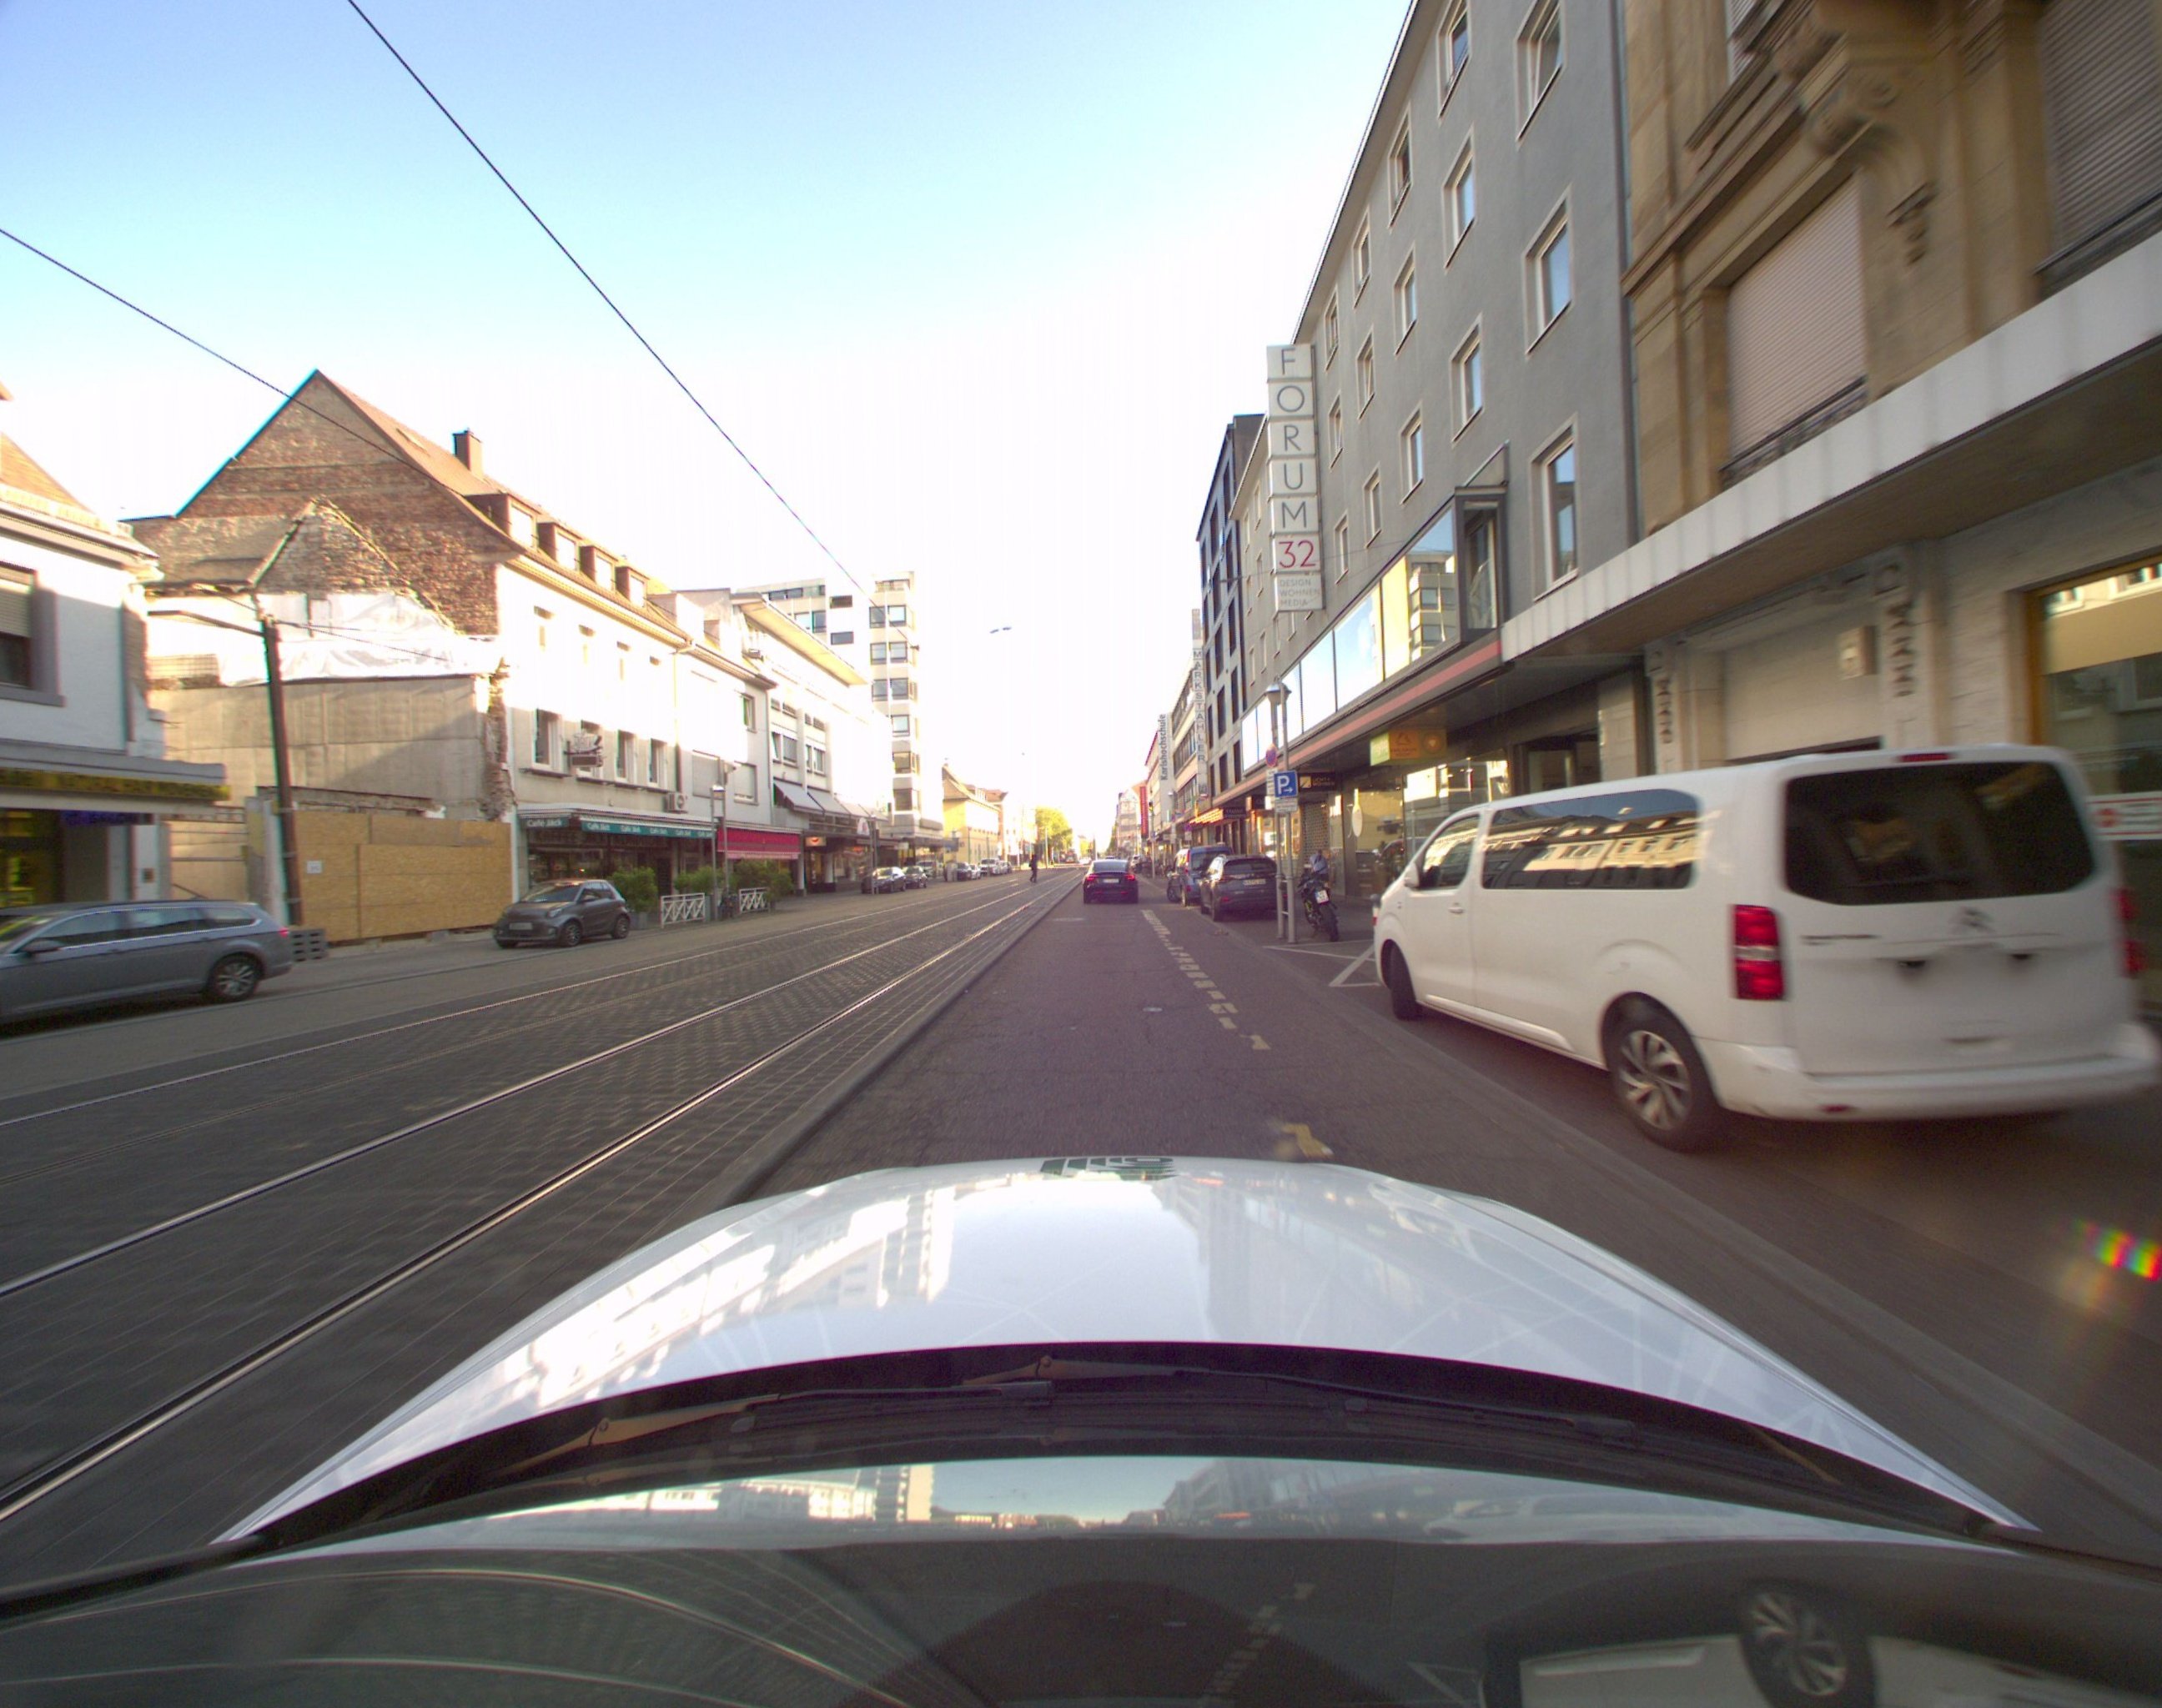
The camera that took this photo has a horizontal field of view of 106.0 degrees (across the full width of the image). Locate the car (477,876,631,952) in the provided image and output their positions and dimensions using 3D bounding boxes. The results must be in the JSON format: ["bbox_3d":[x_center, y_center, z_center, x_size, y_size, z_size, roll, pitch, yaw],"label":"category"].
[{"bbox_3d":[-12.356,1.351,19.306,1.691,1.604,2.892,-1,-1,2],"label":"car"}]

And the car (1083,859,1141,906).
[{"bbox_3d":[1.017,0.926,28.047,1.842,1.484,3.787,-1,-1,1],"label":"car"}]

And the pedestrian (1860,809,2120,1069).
[{"bbox_3d":[5.769,0.502,5.229,0.693,1.508,0.814,-3,0,1],"label":"pedestrian"}]

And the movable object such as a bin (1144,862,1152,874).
[{"bbox_3d":[6.188,1.279,75.232,0.687,1.089,0.666,-3,-1,5],"label":"movable object such as a bin"}]

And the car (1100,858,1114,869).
[{"bbox_3d":[3.645,1.308,114.309,1.778,1.519,4.216,0,-1,-1],"label":"car"}]

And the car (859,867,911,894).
[{"bbox_3d":[-11.586,1.539,48.480,1.730,1.523,4.854,0,0,2],"label":"car"}]

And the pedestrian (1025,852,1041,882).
[{"bbox_3d":[-3.061,0.821,51.989,0.801,1.837,0.746,-4,-1,0],"label":"pedestrian"}]

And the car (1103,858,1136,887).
[{"bbox_3d":[2.073,0.962,43.737,1.647,1.418,4.003,-1,0,3],"label":"car"}]

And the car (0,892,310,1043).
[{"bbox_3d":[-12.742,1.347,10.043,1.810,1.514,4.764,-2,-1,2],"label":"car"}]

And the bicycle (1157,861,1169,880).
[{"bbox_3d":[5.573,1.108,55.582,0.579,1.257,1.602,-5,-1,0],"label":"bicycle"}]

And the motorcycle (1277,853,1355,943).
[{"bbox_3d":[4.091,0.722,14.381,0.657,1.432,2.323,-3,-1,1],"label":"motorcycle"}]

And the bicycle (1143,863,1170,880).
[{"bbox_3d":[5.330,1.227,57.668,1.770,1.130,0.478,-3,0,-4],"label":"bicycle"}]

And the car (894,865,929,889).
[{"bbox_3d":[-11.262,1.532,54.218,1.596,1.523,3.588,0,-1,-1],"label":"car"}]

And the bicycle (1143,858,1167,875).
[{"bbox_3d":[5.731,0.959,63.356,1.781,1.159,0.669,-3,0,1],"label":"bicycle"}]

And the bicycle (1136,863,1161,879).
[{"bbox_3d":[4.991,1.239,60.030,1.767,1.032,0.597,-3,0,0],"label":"bicycle"}]

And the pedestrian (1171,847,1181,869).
[{"bbox_3d":[7.141,0.285,61.029,0.579,1.585,0.598,-4,-1,0],"label":"pedestrian"}]

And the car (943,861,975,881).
[{"bbox_3d":[-10.703,1.479,71.777,1.971,1.678,4.657,0,-1,2],"label":"car"}]

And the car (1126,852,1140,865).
[{"bbox_3d":[7.321,0.644,114.976,1.738,1.632,3.651,-4,0,2],"label":"car"}]

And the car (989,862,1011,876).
[{"bbox_3d":[-9.674,1.769,97.310,1.799,1.685,4.654,0,-1,4],"label":"car"}]

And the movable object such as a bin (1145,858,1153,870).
[{"bbox_3d":[6.337,0.941,75.834,0.655,1.014,0.637,-3,-1,4],"label":"movable object such as a bin"}]

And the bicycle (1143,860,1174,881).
[{"bbox_3d":[5.419,1.127,56.874,2.035,1.274,0.523,-5,0,-9],"label":"bicycle"}]

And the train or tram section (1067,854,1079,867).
[{"bbox_3d":[-2.184,1.891,235.738,2.664,3.715,14.200,-1,0,2],"label":"train or tram section"}]

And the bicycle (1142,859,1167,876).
[{"bbox_3d":[5.622,1.007,62.328,1.781,1.217,0.669,-3,0,1],"label":"bicycle"}]

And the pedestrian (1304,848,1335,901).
[{"bbox_3d":[6.735,0.575,23.056,0.573,1.439,0.731,-4,-1,1],"label":"pedestrian"}]

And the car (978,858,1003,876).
[{"bbox_3d":[-10.048,1.439,90.785,1.986,1.975,5.098,0,-1,1],"label":"car"}]

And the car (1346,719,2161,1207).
[{"bbox_3d":[3.779,0.456,5.810,2.040,1.910,4.876,-3,-1,-1],"label":"car"}]

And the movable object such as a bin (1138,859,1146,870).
[{"bbox_3d":[5.705,0.996,76.045,0.683,1.014,0.509,-3,-1,4],"label":"movable object such as a bin"}]

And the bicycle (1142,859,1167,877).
[{"bbox_3d":[5.566,1.070,61.349,1.781,1.217,0.587,-3,0,0],"label":"bicycle"}]

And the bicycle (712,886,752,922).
[{"bbox_3d":[-11.512,1.635,26.911,0.516,1.090,1.717,0,-1,2],"label":"bicycle"}]

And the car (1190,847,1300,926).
[{"bbox_3d":[3.836,0.727,19.764,1.758,1.577,4.288,-4,-1,1],"label":"car"}]

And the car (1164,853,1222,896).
[{"bbox_3d":[4.335,0.778,32.219,1.715,1.484,4.418,-4,-1,2],"label":"car"}]

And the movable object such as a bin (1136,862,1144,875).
[{"bbox_3d":[5.479,1.336,75.367,0.687,1.089,0.686,-3,-1,5],"label":"movable object such as a bin"}]

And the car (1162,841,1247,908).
[{"bbox_3d":[3.836,0.624,26.065,1.811,1.860,4.547,-3,-1,-2],"label":"car"}]

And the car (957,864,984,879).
[{"bbox_3d":[-10.524,1.639,77.649,1.882,1.421,4.656,0,0,1],"label":"car"}]

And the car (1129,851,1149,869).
[{"bbox_3d":[6.188,0.612,87.283,1.843,1.724,5.194,-4,-1,1],"label":"car"}]
